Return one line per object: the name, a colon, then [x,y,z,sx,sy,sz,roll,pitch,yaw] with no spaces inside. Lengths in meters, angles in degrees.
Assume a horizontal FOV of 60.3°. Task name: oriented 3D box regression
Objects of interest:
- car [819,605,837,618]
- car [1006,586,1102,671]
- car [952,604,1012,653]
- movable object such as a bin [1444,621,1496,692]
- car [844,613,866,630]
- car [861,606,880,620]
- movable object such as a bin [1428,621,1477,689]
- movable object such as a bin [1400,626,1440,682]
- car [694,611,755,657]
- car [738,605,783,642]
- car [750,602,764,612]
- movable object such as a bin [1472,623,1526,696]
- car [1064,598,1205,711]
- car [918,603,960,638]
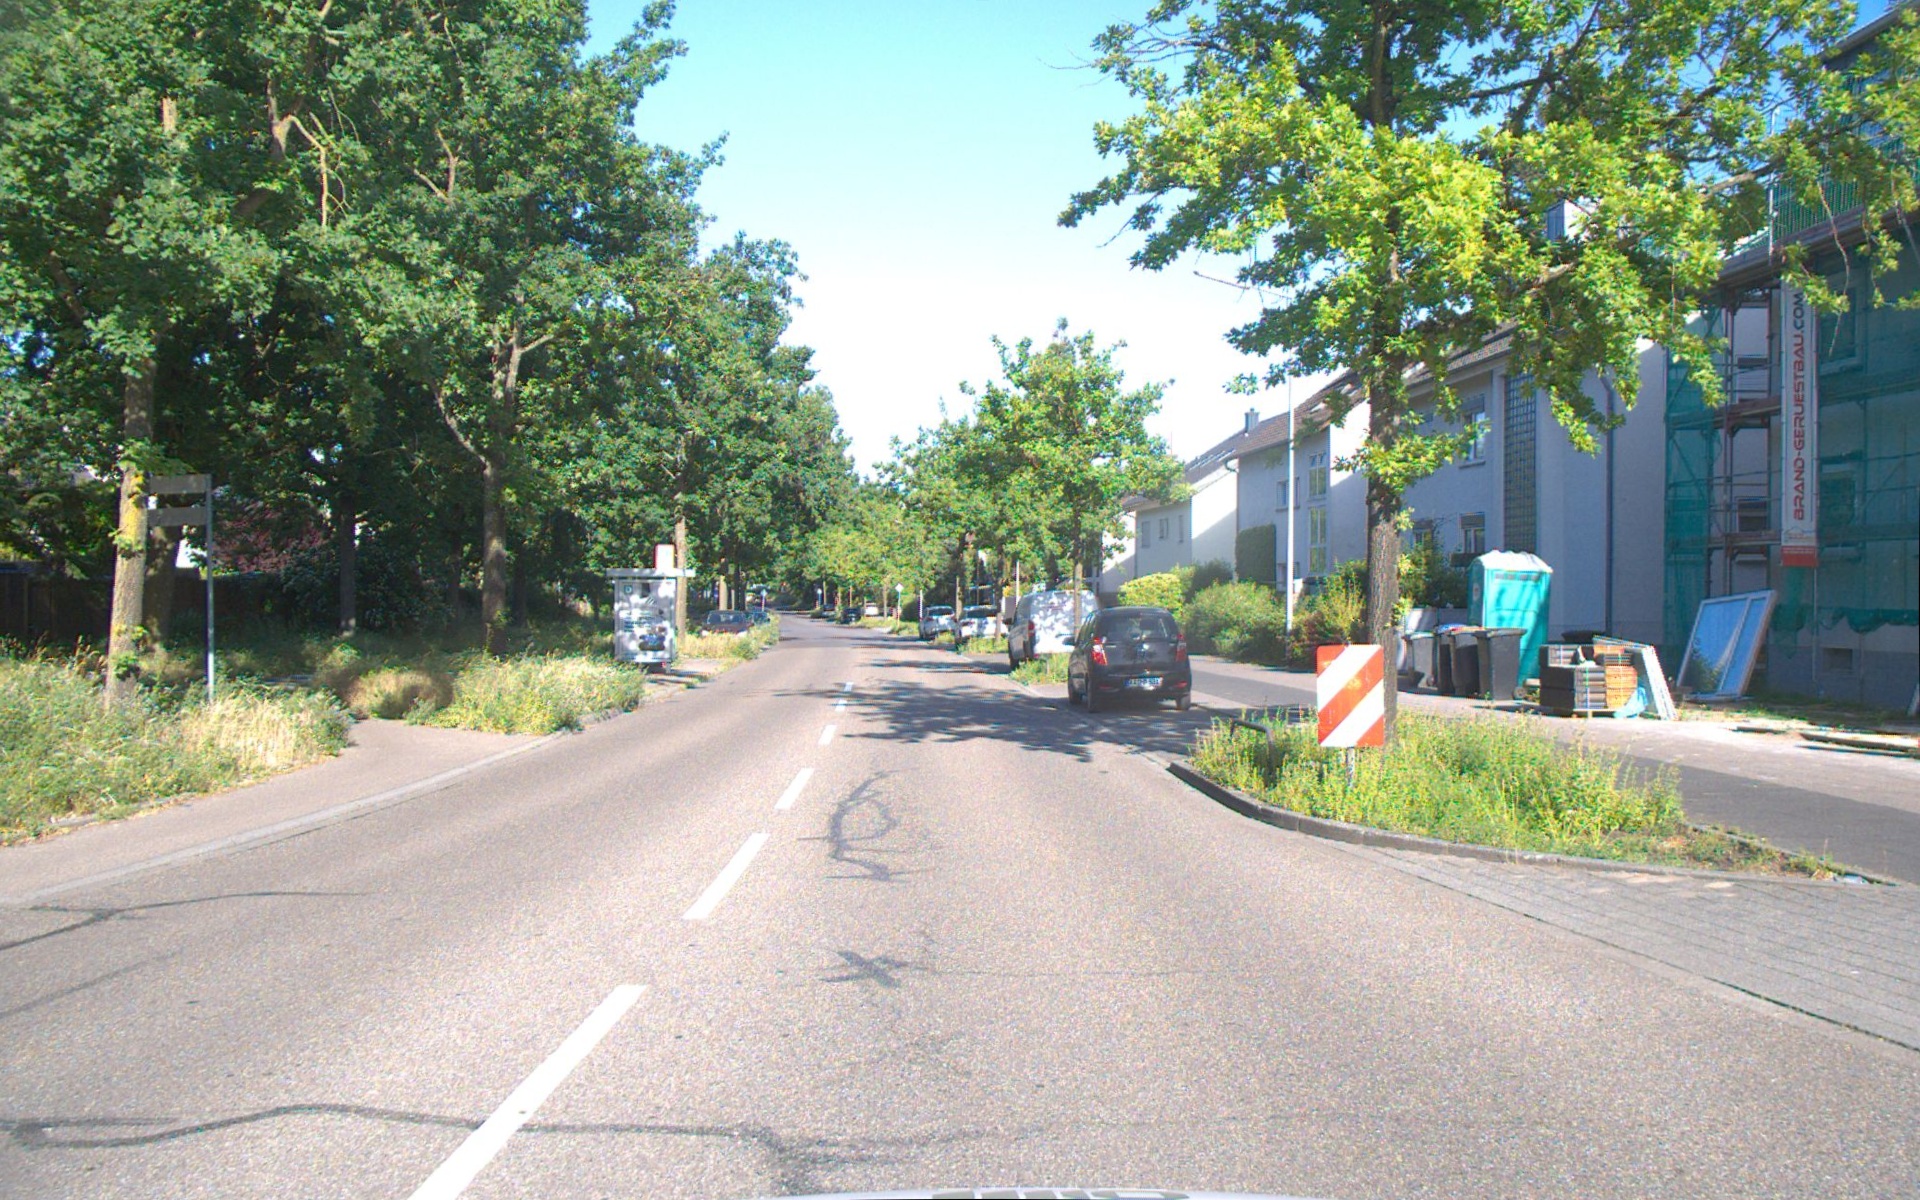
car: [-14.469,1.246,180.974,1.896,1.479,3.995,0,-1,-6]
car: [2.290,0.702,41.489,1.799,2.006,4.754,0,-1,-5]
car: [0.785,1.039,61.482,1.898,1.734,3.996,0,-1,-5]
movable object such as a bin: [7.983,0.876,25.915,0.591,1.088,0.646,0,-1,-3]
car: [-9.703,1.945,152.622,1.895,1.569,3.996,0,-1,-5]
car: [-9.702,1.452,178.822,1.896,1.479,3.995,0,-1,-6]
movable object such as a bin: [7.981,0.892,26.818,0.591,1.088,0.567,0,-1,-3]
movable object such as a bin: [8.006,0.935,28.788,0.519,0.948,0.549,0,-1,-3]
car: [-7.967,1.116,56.208,1.898,1.505,3.994,0,-1,-6]
car: [-8.987,1.036,74.671,1.955,1.584,3.994,1,-1,-7]
car: [-29.151,1.014,237.671,1.896,1.479,3.995,0,-1,-6]
movable object such as a bin: [8.131,0.895,24.971,0.591,1.088,0.646,0,-1,-3]
car: [2.683,0.814,26.217,1.639,1.606,3.749,-2,0,-3]
car: [-1.094,1.037,83.986,1.895,1.773,3.996,0,-1,-5]
